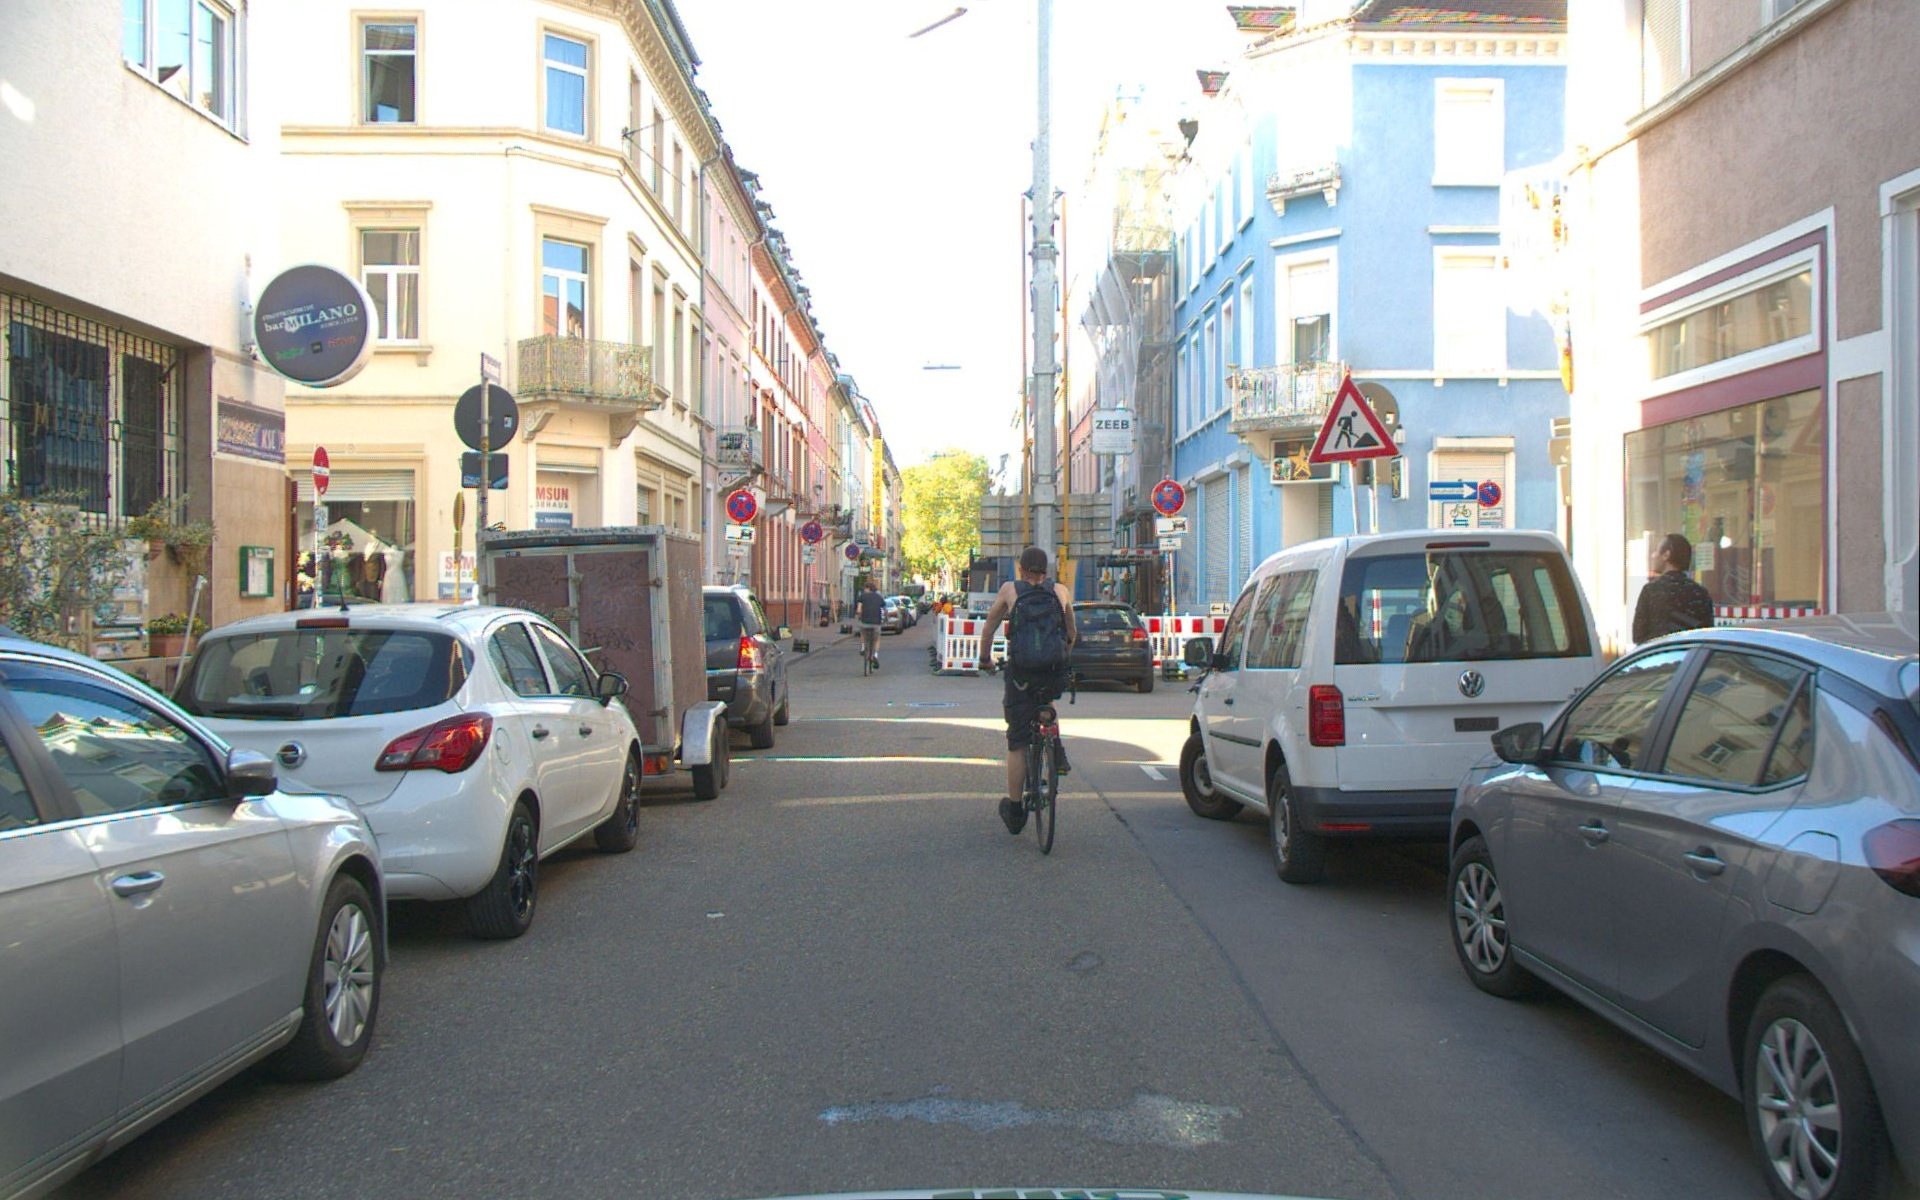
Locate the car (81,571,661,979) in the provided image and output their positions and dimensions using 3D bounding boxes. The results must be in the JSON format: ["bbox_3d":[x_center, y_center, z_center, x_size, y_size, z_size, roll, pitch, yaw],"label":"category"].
[{"bbox_3d":[-2.708,0.706,8.548,1.642,1.582,3.817,-2,0,-1],"label":"car"}]

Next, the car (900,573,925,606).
[{"bbox_3d":[-3.789,-0.866,131.889,1.871,2.540,4.163,-1,0,-3],"label":"car"}]

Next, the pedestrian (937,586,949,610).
[{"bbox_3d":[-1.164,-0.119,113.990,0.755,1.606,0.900,1,0,-3],"label":"pedestrian"}]

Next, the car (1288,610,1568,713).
[{"bbox_3d":[7.055,0.906,25.185,3.788,1.479,1.676,0,0,0],"label":"car"}]

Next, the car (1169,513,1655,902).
[{"bbox_3d":[2.456,0.523,10.150,1.713,1.848,4.369,-1,0,-1],"label":"car"}]

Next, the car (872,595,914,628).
[{"bbox_3d":[-3.121,0.514,77.780,1.675,1.407,4.357,0,1,2],"label":"car"}]

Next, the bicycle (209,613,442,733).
[{"bbox_3d":[-7.565,0.852,19.816,2.425,1.383,0.928,0,0,0],"label":"bicycle"}]

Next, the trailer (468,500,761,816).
[{"bbox_3d":[-2.610,0.402,13.433,1.628,2.097,4.361,-2,0,-3],"label":"trailer"}]

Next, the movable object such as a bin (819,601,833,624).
[{"bbox_3d":[-5.898,0.549,72.701,0.532,0.961,0.487,1,-1,0],"label":"movable object such as a bin"}]

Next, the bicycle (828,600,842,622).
[{"bbox_3d":[-6.440,0.542,85.286,0.580,1.108,2.079,1,0,0],"label":"bicycle"}]

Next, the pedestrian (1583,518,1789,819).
[{"bbox_3d":[4.684,0.425,10.737,0.809,1.824,0.990,-3,0,-1],"label":"pedestrian"}]

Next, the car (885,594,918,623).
[{"bbox_3d":[-3.163,0.443,90.293,1.638,1.467,3.767,-2,0,-1],"label":"car"}]

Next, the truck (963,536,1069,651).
[{"bbox_3d":[1.433,-0.143,45.476,2.607,2.863,7.392,1,0,0],"label":"truck"}]

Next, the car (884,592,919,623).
[{"bbox_3d":[-2.968,0.387,84.247,1.638,1.467,4.164,-2,0,-1],"label":"car"}]

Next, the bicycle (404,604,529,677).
[{"bbox_3d":[-8.269,0.673,27.742,1.881,1.169,0.613,1,0,5],"label":"bicycle"}]

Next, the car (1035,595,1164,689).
[{"bbox_3d":[2.264,0.652,27.772,1.735,1.459,4.033,1,0,-1],"label":"car"}]

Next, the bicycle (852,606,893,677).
[{"bbox_3d":[-1.674,0.775,31.884,0.687,1.229,2.342,-1,1,-1],"label":"bicycle"}]

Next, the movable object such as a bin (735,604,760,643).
[{"bbox_3d":[-5.820,0.648,45.330,0.593,1.053,0.596,1,0,-2],"label":"movable object such as a bin"}]

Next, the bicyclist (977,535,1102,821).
[{"bbox_3d":[0.469,0.458,10.199,0.687,1.662,1.090,1,0,0],"label":"bicyclist"}]

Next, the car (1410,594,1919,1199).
[{"bbox_3d":[2.768,0.715,5.170,1.576,1.433,3.881,-2,0,-1],"label":"car"}]

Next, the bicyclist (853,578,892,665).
[{"bbox_3d":[-1.687,0.399,31.844,0.688,1.633,0.812,-1,1,-1],"label":"bicyclist"}]

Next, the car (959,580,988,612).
[{"bbox_3d":[1.105,-0.324,142.482,2.261,2.582,6.768,-2,0,-1],"label":"car"}]

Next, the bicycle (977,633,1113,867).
[{"bbox_3d":[0.478,0.841,10.188,0.687,1.229,2.342,1,0,0],"label":"bicycle"}]

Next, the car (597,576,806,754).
[{"bbox_3d":[-2.635,0.591,17.714,1.687,1.633,4.164,-2,1,-2],"label":"car"}]

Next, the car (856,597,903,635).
[{"bbox_3d":[-3.220,0.639,66.717,1.676,1.407,4.505,-2,0,-1],"label":"car"}]

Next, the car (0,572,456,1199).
[{"bbox_3d":[-2.587,0.737,3.562,1.639,1.523,4.530,-2,0,-1],"label":"car"}]
